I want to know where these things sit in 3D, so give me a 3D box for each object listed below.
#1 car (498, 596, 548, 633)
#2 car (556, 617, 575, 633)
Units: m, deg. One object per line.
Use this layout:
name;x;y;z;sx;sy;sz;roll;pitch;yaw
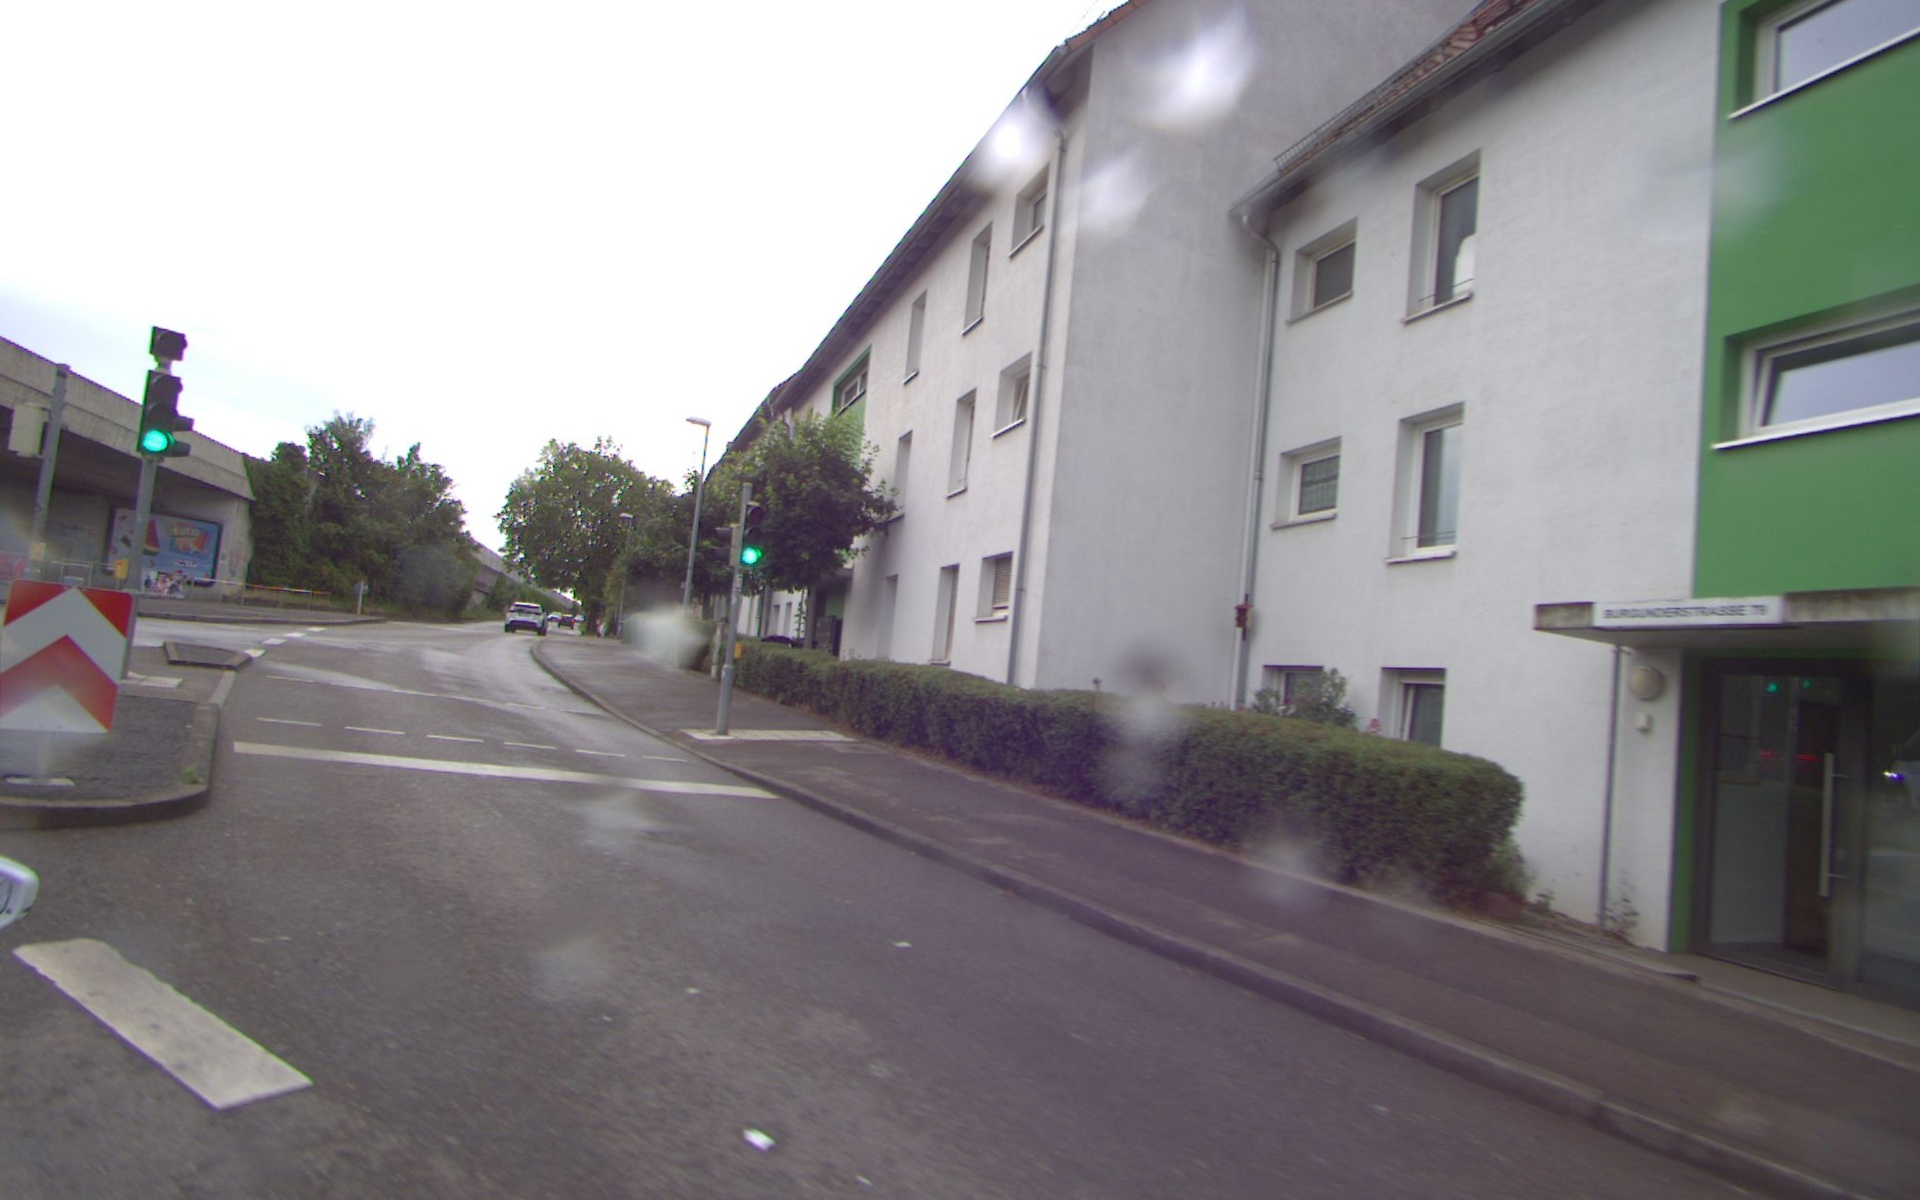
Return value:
car;-22.056;0.741;50.918;1.856;1.546;3.986;9;-3;-20
car;-47.740;3.021;121.732;1.857;1.546;3.982;9;-3;-22
